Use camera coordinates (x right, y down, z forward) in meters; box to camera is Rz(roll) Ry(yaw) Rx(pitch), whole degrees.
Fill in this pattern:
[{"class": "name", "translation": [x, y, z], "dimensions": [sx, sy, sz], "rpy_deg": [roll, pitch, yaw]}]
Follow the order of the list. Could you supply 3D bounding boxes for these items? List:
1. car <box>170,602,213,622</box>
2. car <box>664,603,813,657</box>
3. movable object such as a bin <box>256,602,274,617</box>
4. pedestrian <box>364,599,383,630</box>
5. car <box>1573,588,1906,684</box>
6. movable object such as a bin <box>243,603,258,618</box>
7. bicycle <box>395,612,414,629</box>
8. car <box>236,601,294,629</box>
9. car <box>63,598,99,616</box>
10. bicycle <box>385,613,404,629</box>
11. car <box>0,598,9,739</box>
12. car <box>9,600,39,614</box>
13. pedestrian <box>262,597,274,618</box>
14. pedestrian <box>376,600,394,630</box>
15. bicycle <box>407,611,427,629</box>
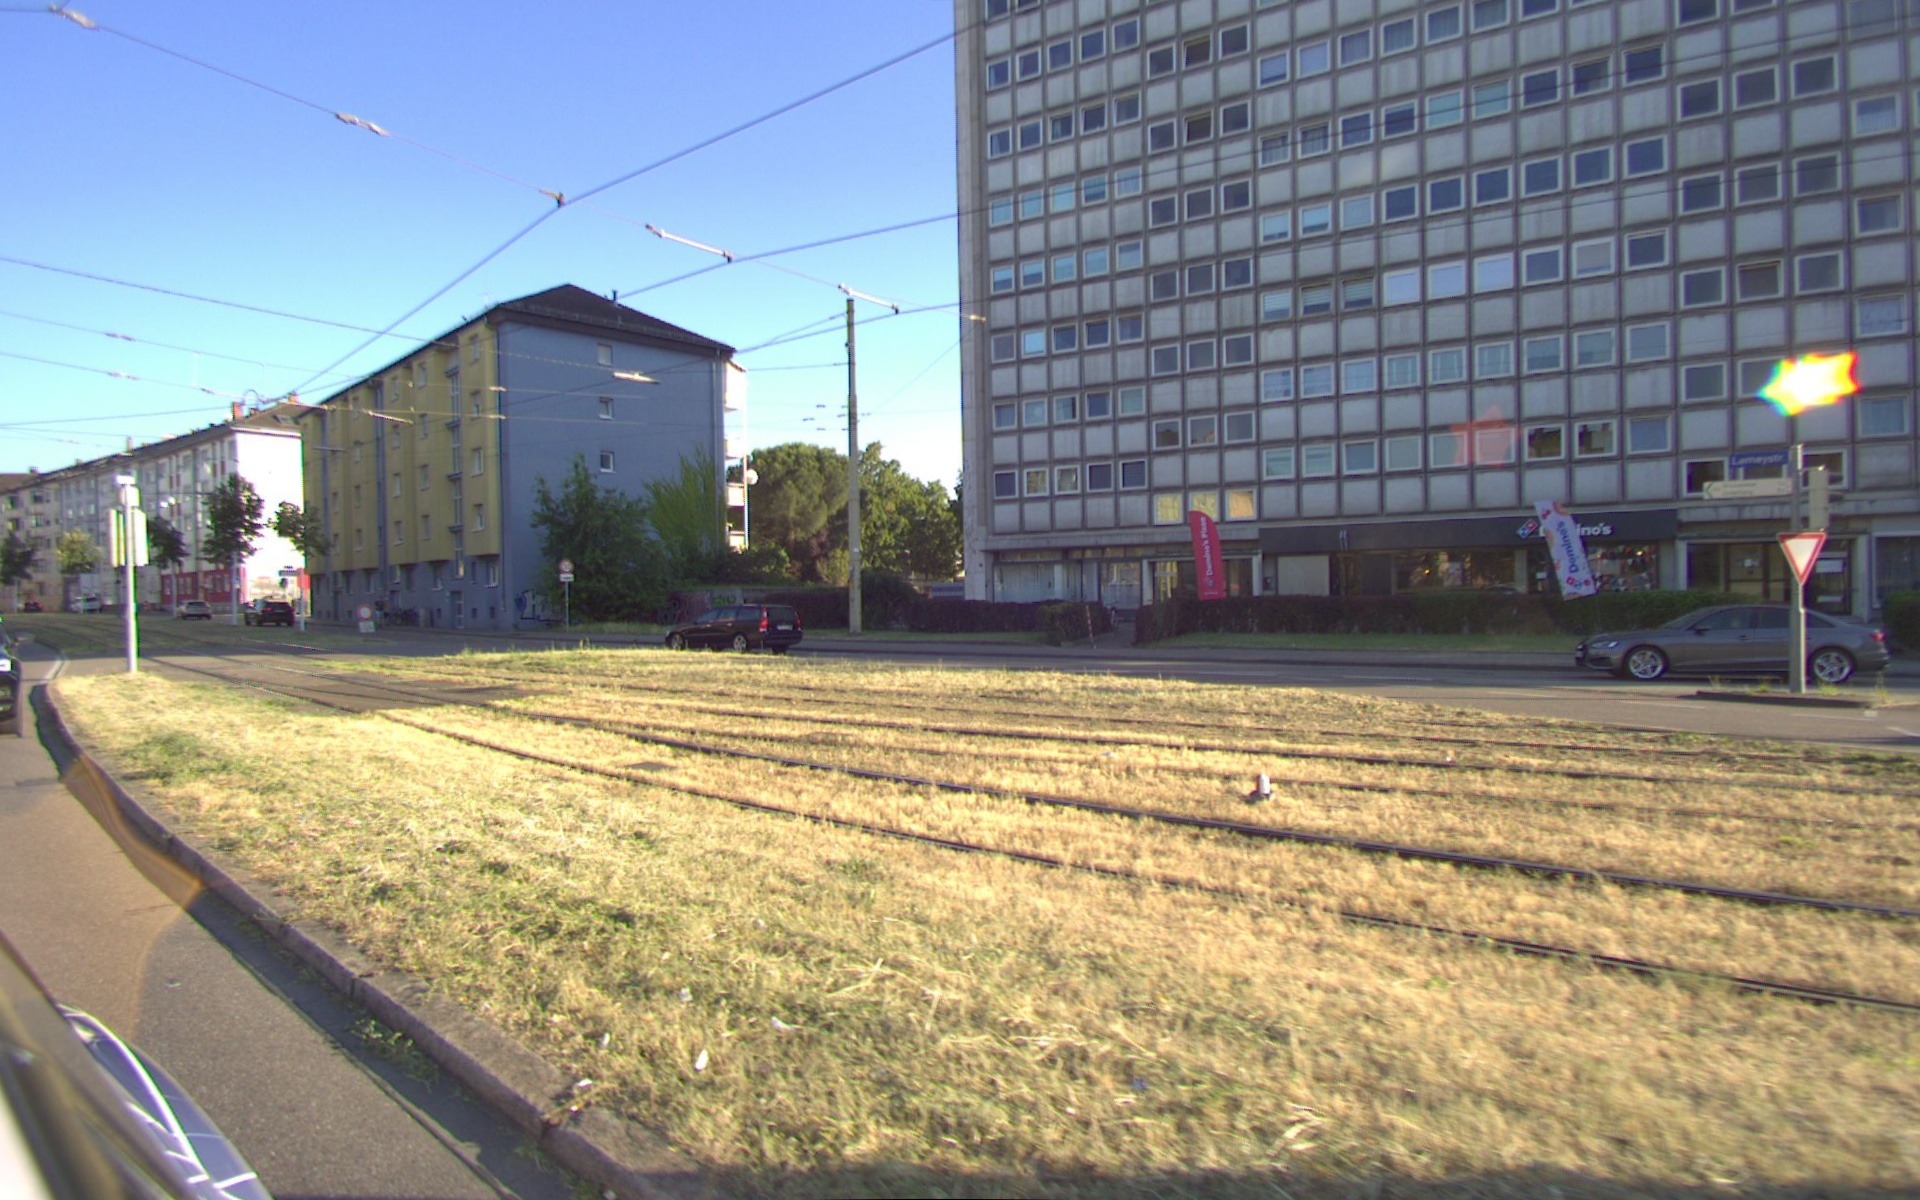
[{"class": "car", "translation": [-57.978, 0.889, 76.311], "dimensions": [4.313, 1.471, 1.680], "rpy_deg": [0, -1, 40]}, {"class": "car", "translation": [-6.652, 0.906, 30.286], "dimensions": [4.384, 1.493, 1.763], "rpy_deg": [-1, -3, 32]}, {"class": "movable object such as a bin", "translation": [-60.869, 0.845, 88.653], "dimensions": [0.805, 1.296, 1.147], "rpy_deg": [0, 1, 38]}, {"class": "pedestrian", "translation": [-34.211, 0.844, 59.048], "dimensions": [0.885, 1.786, 0.587], "rpy_deg": [-1, 4, 42]}, {"class": "car", "translation": [14.125, 0.616, 18.685], "dimensions": [4.552, 1.608, 1.646], "rpy_deg": [0, 0, 21]}, {"class": "movable object such as a bin", "translation": [-61.465, 0.896, 87.690], "dimensions": [0.805, 1.235, 0.858], "rpy_deg": [0, 1, 38]}, {"class": "bicycle", "translation": [-32.565, 1.216, 59.323], "dimensions": [1.912, 0.932, 0.422], "rpy_deg": [0, 4, 44]}, {"class": "car", "translation": [-43.125, 0.960, 62.752], "dimensions": [4.707, 1.674, 1.898], "rpy_deg": [-1, -1, 41]}, {"class": "car", "translation": [-93.179, 0.709, 107.261], "dimensions": [4.411, 1.843, 1.851], "rpy_deg": [-1, -1, 35]}, {"class": "bicycle", "translation": [-33.583, 1.238, 60.097], "dimensions": [1.912, 0.932, 0.422], "rpy_deg": [0, 4, 44]}, {"class": "car", "translation": [-13.165, 0.812, 12.700], "dimensions": [1.762, 1.636, 4.220], "rpy_deg": [0, -1, -44]}, {"class": "car", "translation": [-102.831, 0.789, 111.149], "dimensions": [4.792, 1.480, 1.775], "rpy_deg": [1, -1, 40]}, {"class": "pedestrian", "translation": [-56.508, 0.595, 82.644], "dimensions": [0.790, 1.702, 0.608], "rpy_deg": [-1, 1, 37]}, {"class": "pedestrian", "translation": [-33.803, 0.864, 59.523], "dimensions": [0.706, 1.706, 0.610], "rpy_deg": [-1, 4, 42]}, {"class": "bicycle", "translation": [-31.143, 1.152, 58.009], "dimensions": [1.912, 0.967, 0.422], "rpy_deg": [0, 0, 44]}]
